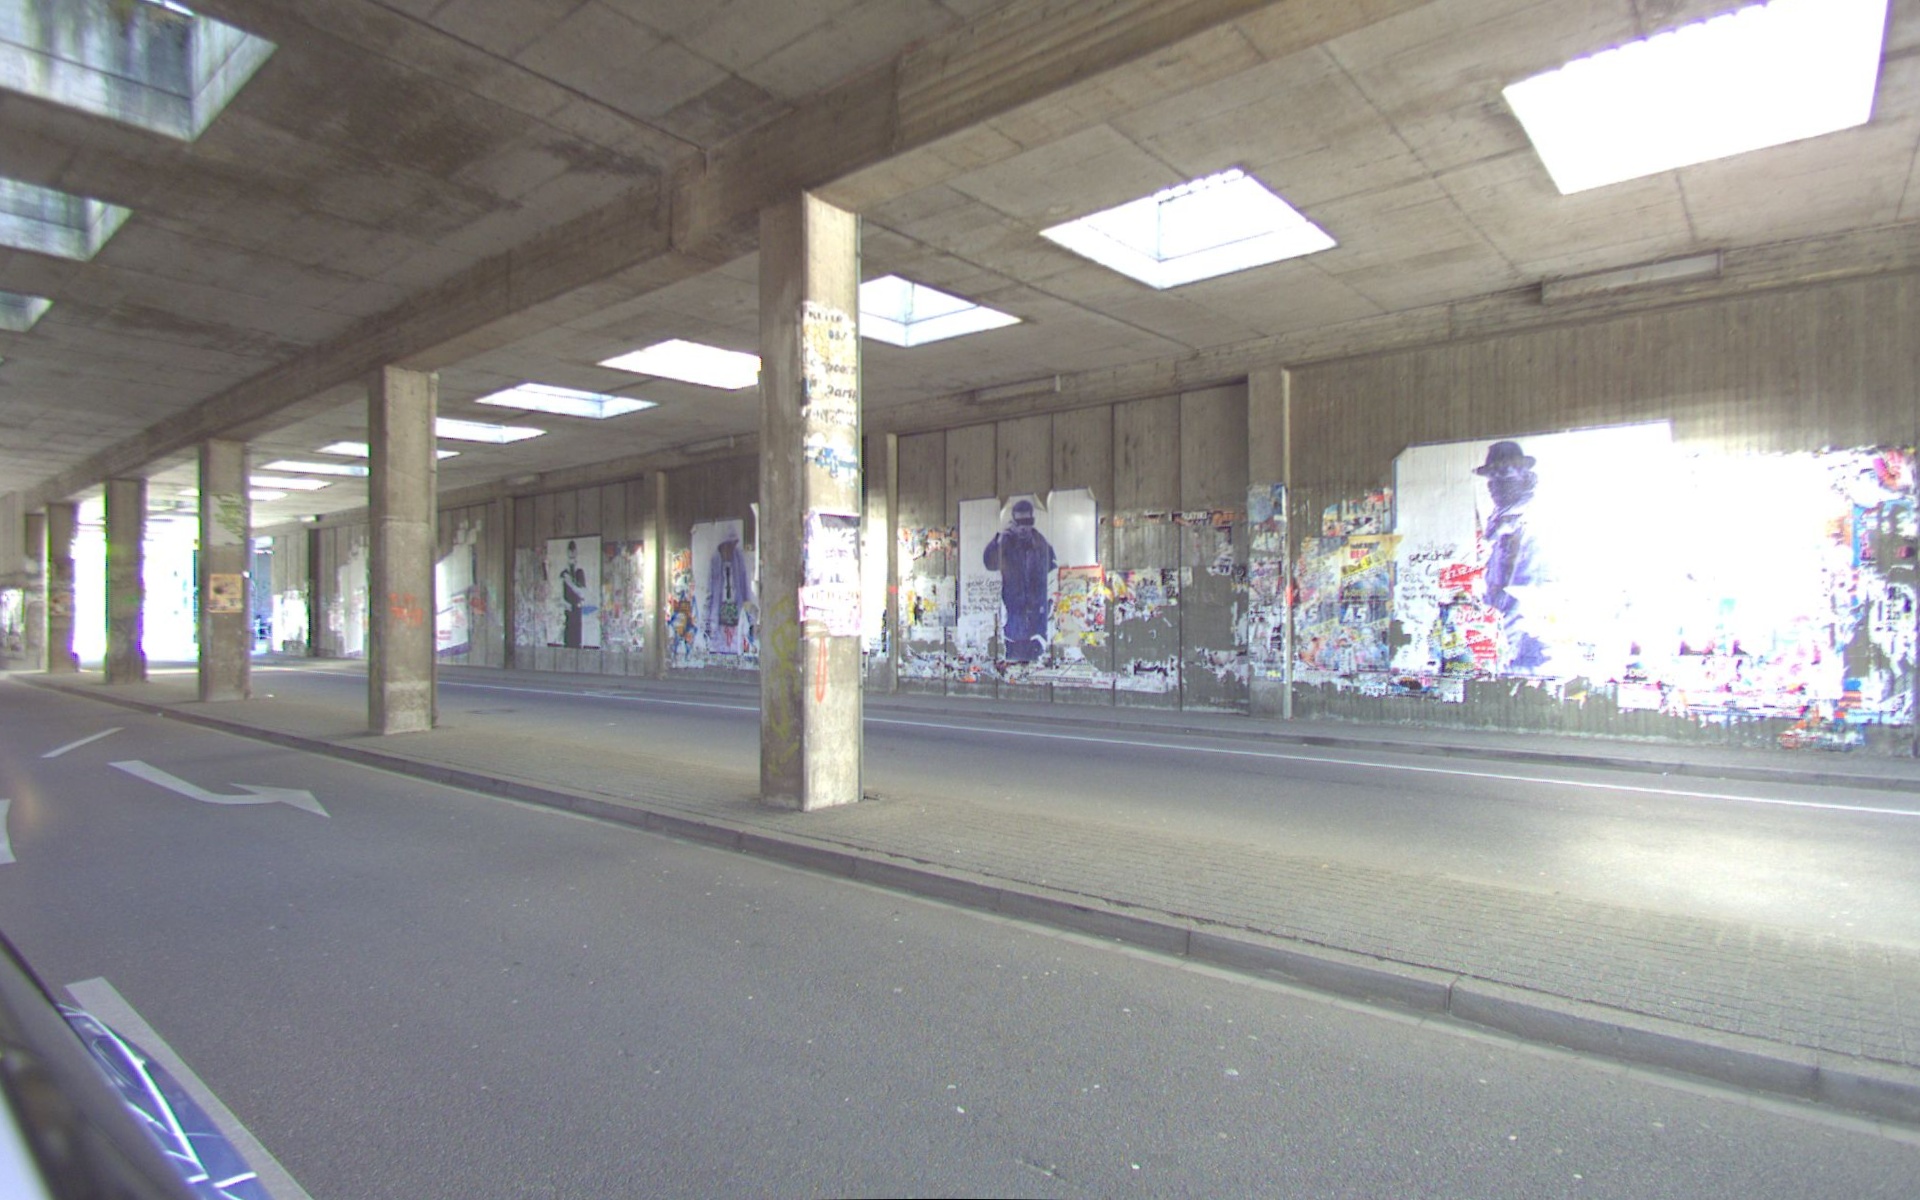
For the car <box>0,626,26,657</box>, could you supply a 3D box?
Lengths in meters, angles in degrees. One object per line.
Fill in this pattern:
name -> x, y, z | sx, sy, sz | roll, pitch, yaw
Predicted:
car -> -56.902, 2.433, 57.939 | 1.997, 1.763, 4.798 | -1, 0, 38
